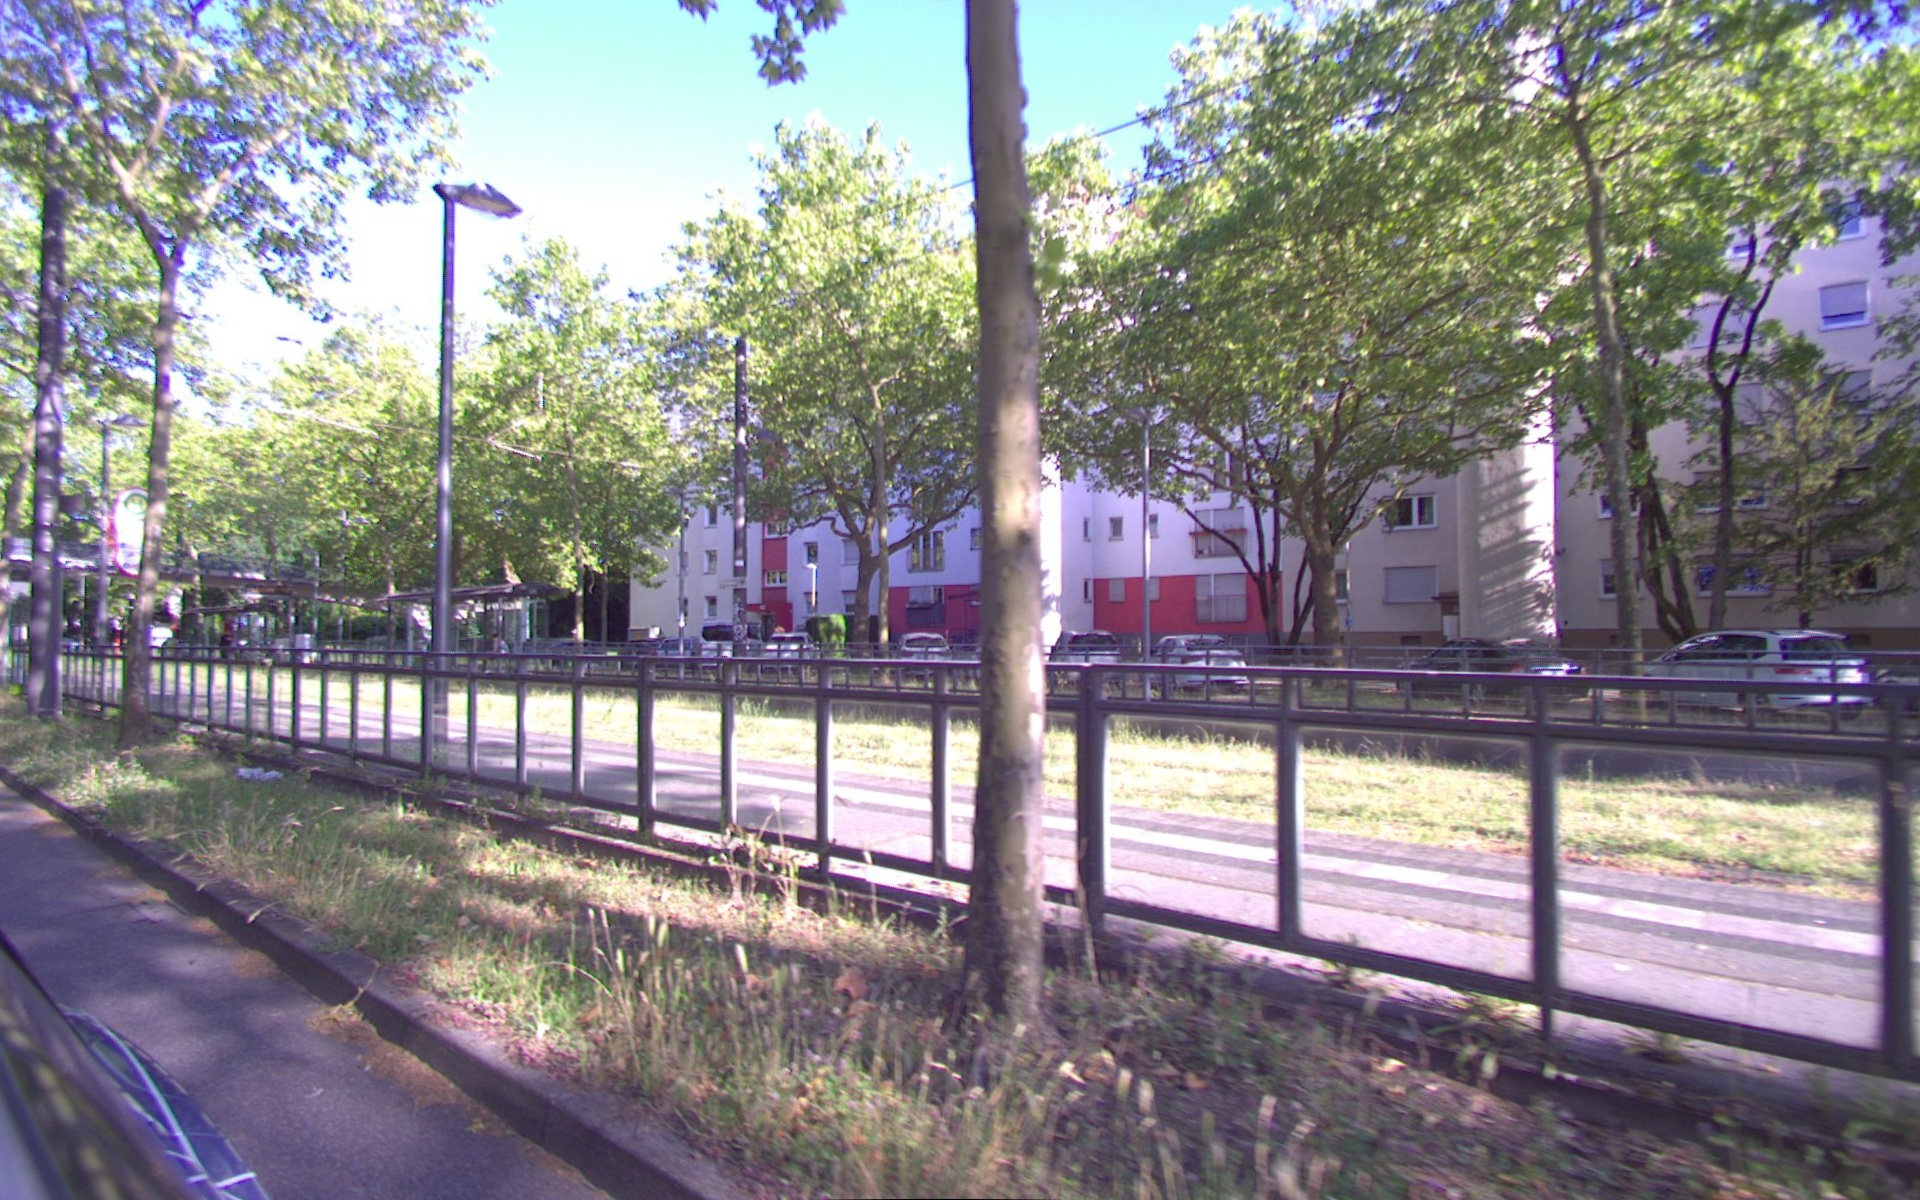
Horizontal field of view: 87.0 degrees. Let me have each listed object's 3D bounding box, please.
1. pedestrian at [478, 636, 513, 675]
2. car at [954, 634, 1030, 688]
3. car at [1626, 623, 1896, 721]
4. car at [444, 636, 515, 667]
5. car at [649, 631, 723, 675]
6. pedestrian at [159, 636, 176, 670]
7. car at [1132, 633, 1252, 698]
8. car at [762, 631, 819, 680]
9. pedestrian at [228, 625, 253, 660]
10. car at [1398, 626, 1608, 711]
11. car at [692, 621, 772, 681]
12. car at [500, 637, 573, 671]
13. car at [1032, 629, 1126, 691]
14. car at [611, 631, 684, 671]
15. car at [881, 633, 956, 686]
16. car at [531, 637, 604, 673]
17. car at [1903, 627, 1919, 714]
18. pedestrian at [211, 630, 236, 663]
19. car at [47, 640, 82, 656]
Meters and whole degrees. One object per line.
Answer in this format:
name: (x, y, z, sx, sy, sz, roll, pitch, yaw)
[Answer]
pedestrian: (-13.955, 1.671, 30.426, 0.661, 1.136, 0.687, -1, -5, 41)
car: (0.909, 1.800, 30.787, 1.551, 1.443, 4.067, -1, -1, -9)
car: (14.465, 1.228, 18.612, 1.622, 1.556, 3.994, -2, -1, -2)
car: (-25.214, 2.676, 53.241, 1.677, 1.439, 4.198, -2, -1, 1)
car: (-10.906, 2.079, 40.624, 1.872, 1.509, 4.502, -2, -1, -2)
pedestrian: (-41.789, 2.778, 53.361, 0.477, 1.784, 0.504, -1, -1, -1)
car: (5.816, 1.605, 25.888, 1.551, 1.485, 4.067, -1, -1, -9)
car: (-6.090, 1.952, 36.714, 1.664, 1.623, 4.063, -1, -1, -4)
pedestrian: (-33.947, 1.991, 47.743, 0.714, 1.647, 0.722, -1, -3, 37)
car: (11.155, 1.349, 21.184, 1.620, 1.556, 4.183, -1, -1, -9)
car: (-8.535, 1.862, 38.275, 1.874, 2.079, 4.498, -2, -1, 1)
car: (-20.275, 2.563, 48.649, 1.677, 1.439, 4.198, -2, -1, 1)
car: (3.281, 1.646, 28.675, 1.551, 1.580, 4.067, -1, -1, -9)
car: (-13.291, 2.139, 43.290, 1.872, 1.509, 4.502, -2, -1, -2)
car: (-1.412, 1.853, 32.655, 1.870, 1.515, 4.508, -1, -1, -9)
car: (-18.122, 2.516, 46.878, 1.677, 1.439, 4.198, -2, -1, 1)
car: (17.318, 1.184, 16.199, 1.447, 1.520, 3.377, -2, -1, 6)
pedestrian: (-34.610, 2.192, 47.566, 0.681, 1.525, 0.638, -1, -3, 27)
car: (-92.340, 4.932, 104.319, 4.621, 1.499, 1.879, -1, 1, 39)
